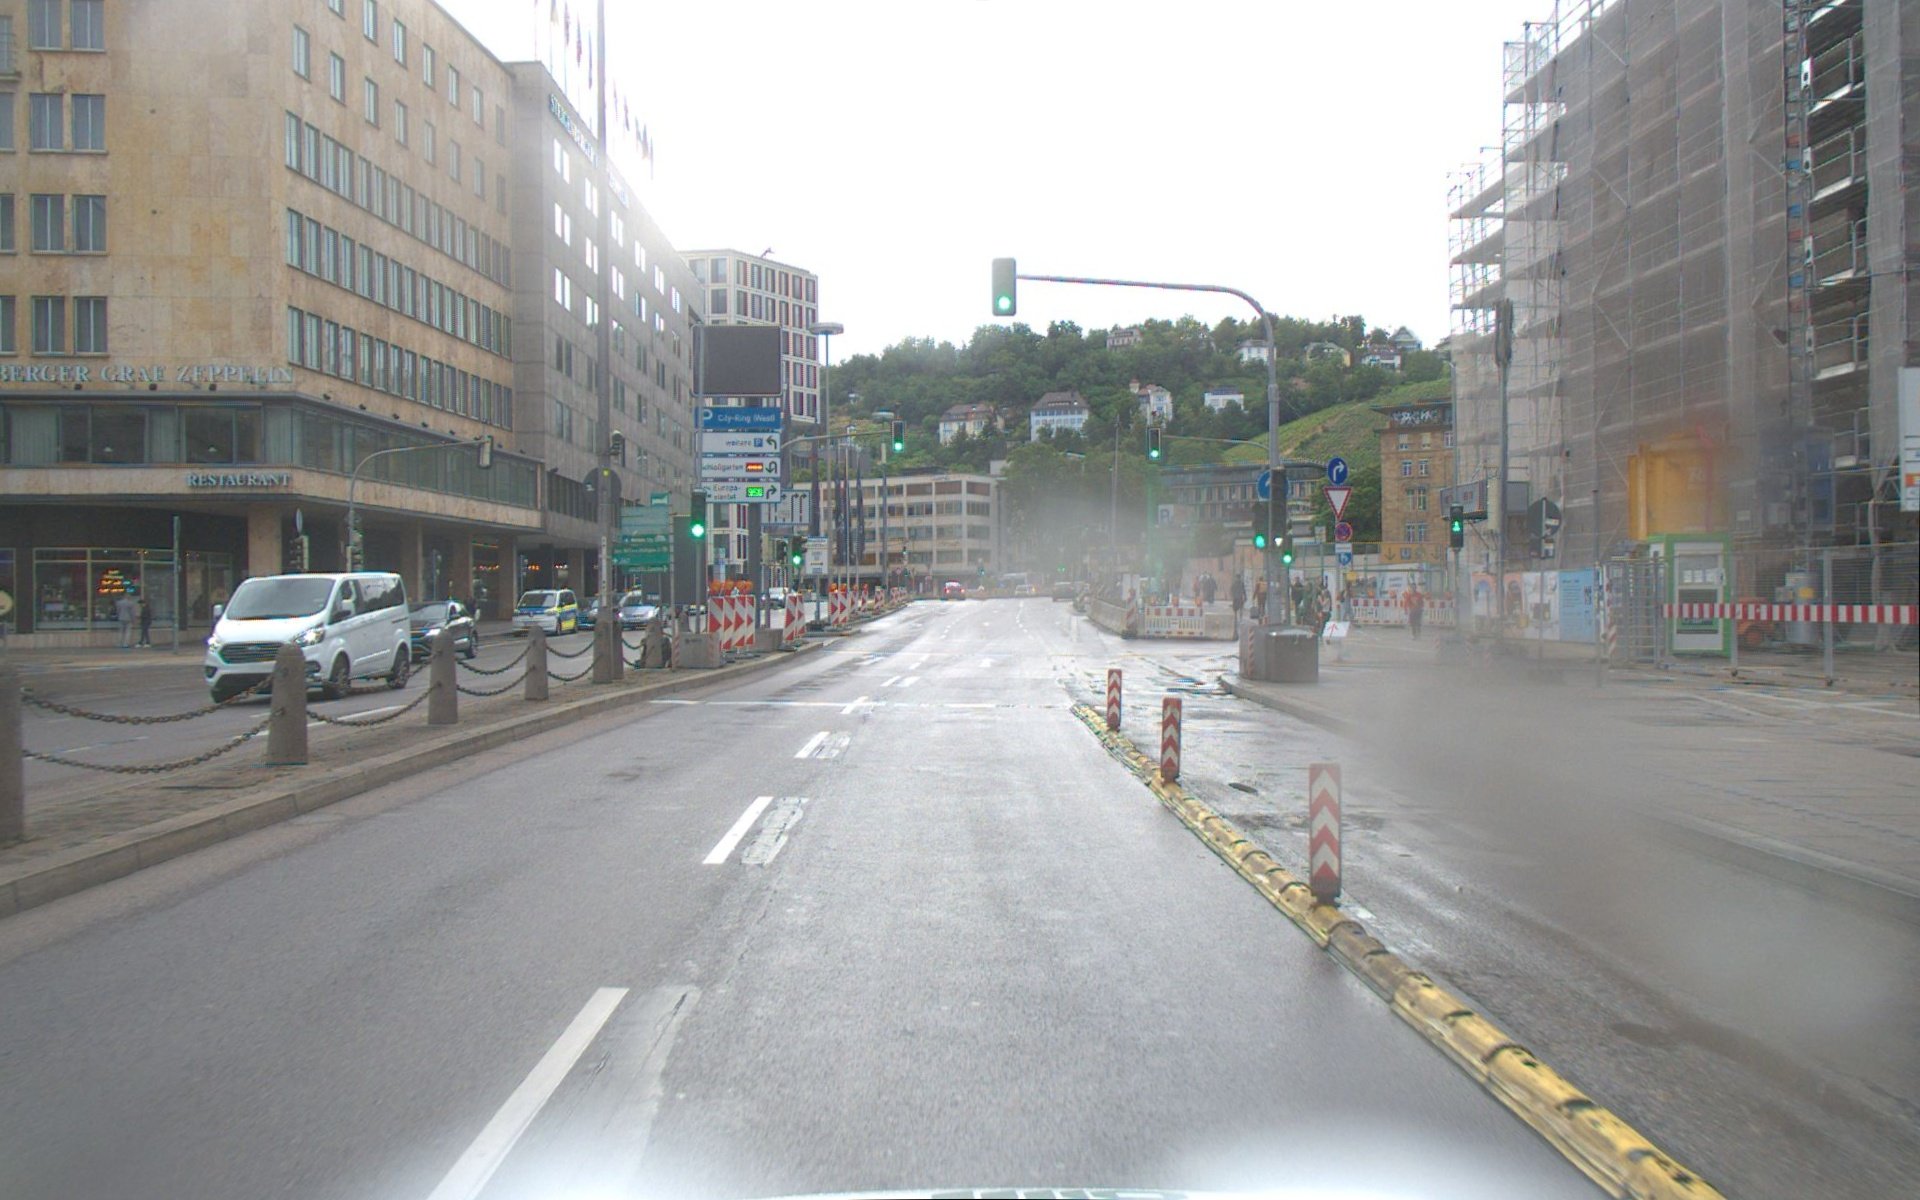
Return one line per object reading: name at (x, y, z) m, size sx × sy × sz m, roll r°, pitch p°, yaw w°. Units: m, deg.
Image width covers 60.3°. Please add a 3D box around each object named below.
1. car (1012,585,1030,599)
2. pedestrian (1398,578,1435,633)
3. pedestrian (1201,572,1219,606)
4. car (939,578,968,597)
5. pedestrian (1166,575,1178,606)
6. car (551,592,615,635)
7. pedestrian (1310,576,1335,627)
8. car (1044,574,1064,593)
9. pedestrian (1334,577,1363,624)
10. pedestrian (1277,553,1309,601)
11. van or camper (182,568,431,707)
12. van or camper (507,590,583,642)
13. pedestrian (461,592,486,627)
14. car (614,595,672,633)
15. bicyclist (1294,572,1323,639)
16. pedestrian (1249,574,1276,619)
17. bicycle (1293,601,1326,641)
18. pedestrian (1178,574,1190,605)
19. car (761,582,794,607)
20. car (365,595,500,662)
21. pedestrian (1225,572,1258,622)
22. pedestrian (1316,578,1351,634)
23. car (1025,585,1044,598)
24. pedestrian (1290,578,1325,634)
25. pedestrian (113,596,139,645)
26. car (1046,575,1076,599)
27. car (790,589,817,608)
car at (6.907, -0.885, 186.926) m, size 1.782 × 1.467 × 3.999 m, roll 1°, pitch 1°, yaw -1°
pedestrian at (13.912, 0.175, 50.433) m, size 0.754 × 1.636 × 0.860 m, roll -1°, pitch 0°, yaw -14°
pedestrian at (13.898, -0.602, 92.037) m, size 0.926 × 1.873 × 0.868 m, roll -1°, pitch 0°, yaw 6°
car at (-0.610, -1.122, 149.910) m, size 1.958 × 1.579 × 3.989 m, roll -1°, pitch 0°, yaw -11°
pedestrian at (13.048, -0.585, 102.017) m, size 0.673 × 1.873 × 0.615 m, roll -1°, pitch 0°, yaw 5°
car at (-17.448, 0.602, 76.696) m, size 1.952 × 1.870 × 4.001 m, roll -1°, pitch 0°, yaw 1°
pedestrian at (13.533, 0.040, 61.829) m, size 0.846 × 1.873 × 0.798 m, roll -1°, pitch 0°, yaw 10°
car at (9.032, -1.572, 158.553) m, size 1.739 × 1.668 × 4.000 m, roll -2°, pitch 0°, yaw 1°
pedestrian at (14.055, 0.024, 59.860) m, size 0.846 × 1.690 × 0.797 m, roll -1°, pitch 0°, yaw 3°
pedestrian at (13.262, -0.928, 65.779) m, size 0.852 × 1.873 × 0.943 m, roll -1°, pitch 0°, yaw 43°
van or camper at (-10.562, 0.555, 27.222) m, size 1.952 × 2.049 × 5.189 m, roll -1°, pitch 0°, yaw 1°
van or camper at (-17.497, 0.647, 70.010) m, size 1.953 × 2.049 × 4.965 m, roll -1°, pitch 0°, yaw 0°
pedestrian at (-21.613, 0.411, 73.460) m, size 0.778 × 1.553 × 0.916 m, roll -1°, pitch 0°, yaw 2°
car at (-14.236, 0.618, 74.452) m, size 1.732 × 1.637 × 4.226 m, roll -1°, pitch 0°, yaw 0°
bicyclist at (9.945, 0.148, 47.199) m, size 0.688 × 1.877 × 0.968 m, roll 0°, pitch 0°, yaw 5°
pedestrian at (12.851, -0.151, 70.349) m, size 0.927 × 1.873 × 0.867 m, roll -1°, pitch 0°, yaw -3°
bicycle at (9.945, 0.579, 47.056) m, size 0.692 × 1.068 × 1.807 m, roll 0°, pitch 1°, yaw 5°
pedestrian at (13.815, -0.634, 101.981) m, size 0.673 × 1.873 × 0.615 m, roll -1°, pitch 0°, yaw 5°
car at (-13.907, -0.424, 126.105) m, size 1.952 × 1.780 × 4.000 m, roll -1°, pitch 0°, yaw 1°
car at (-13.924, 0.701, 43.962) m, size 1.952 × 1.645 × 4.577 m, roll -1°, pitch 0°, yaw 2°
pedestrian at (10.763, -0.131, 63.228) m, size 0.929 × 1.873 × 0.945 m, roll -1°, pitch 0°, yaw 30°
pedestrian at (11.153, 0.175, 49.395) m, size 0.779 × 1.636 × 0.834 m, roll -1°, pitch 0°, yaw 29°
car at (8.992, -1.031, 200.219) m, size 1.953 × 1.467 × 3.999 m, roll 1°, pitch 1°, yaw -1°
pedestrian at (10.460, 0.180, 49.784) m, size 0.779 × 1.636 × 0.834 m, roll -1°, pitch 0°, yaw 28°
pedestrian at (-28.758, 0.691, 57.065) m, size 0.684 × 1.672 × 0.647 m, roll -1°, pitch 0°, yaw -19°
car at (7.744, -0.991, 127.358) m, size 1.953 × 1.735 × 3.999 m, roll -1°, pitch 0°, yaw -1°
car at (-14.250, -0.129, 150.721) m, size 1.952 × 1.646 × 4.000 m, roll -1°, pitch 0°, yaw 1°
